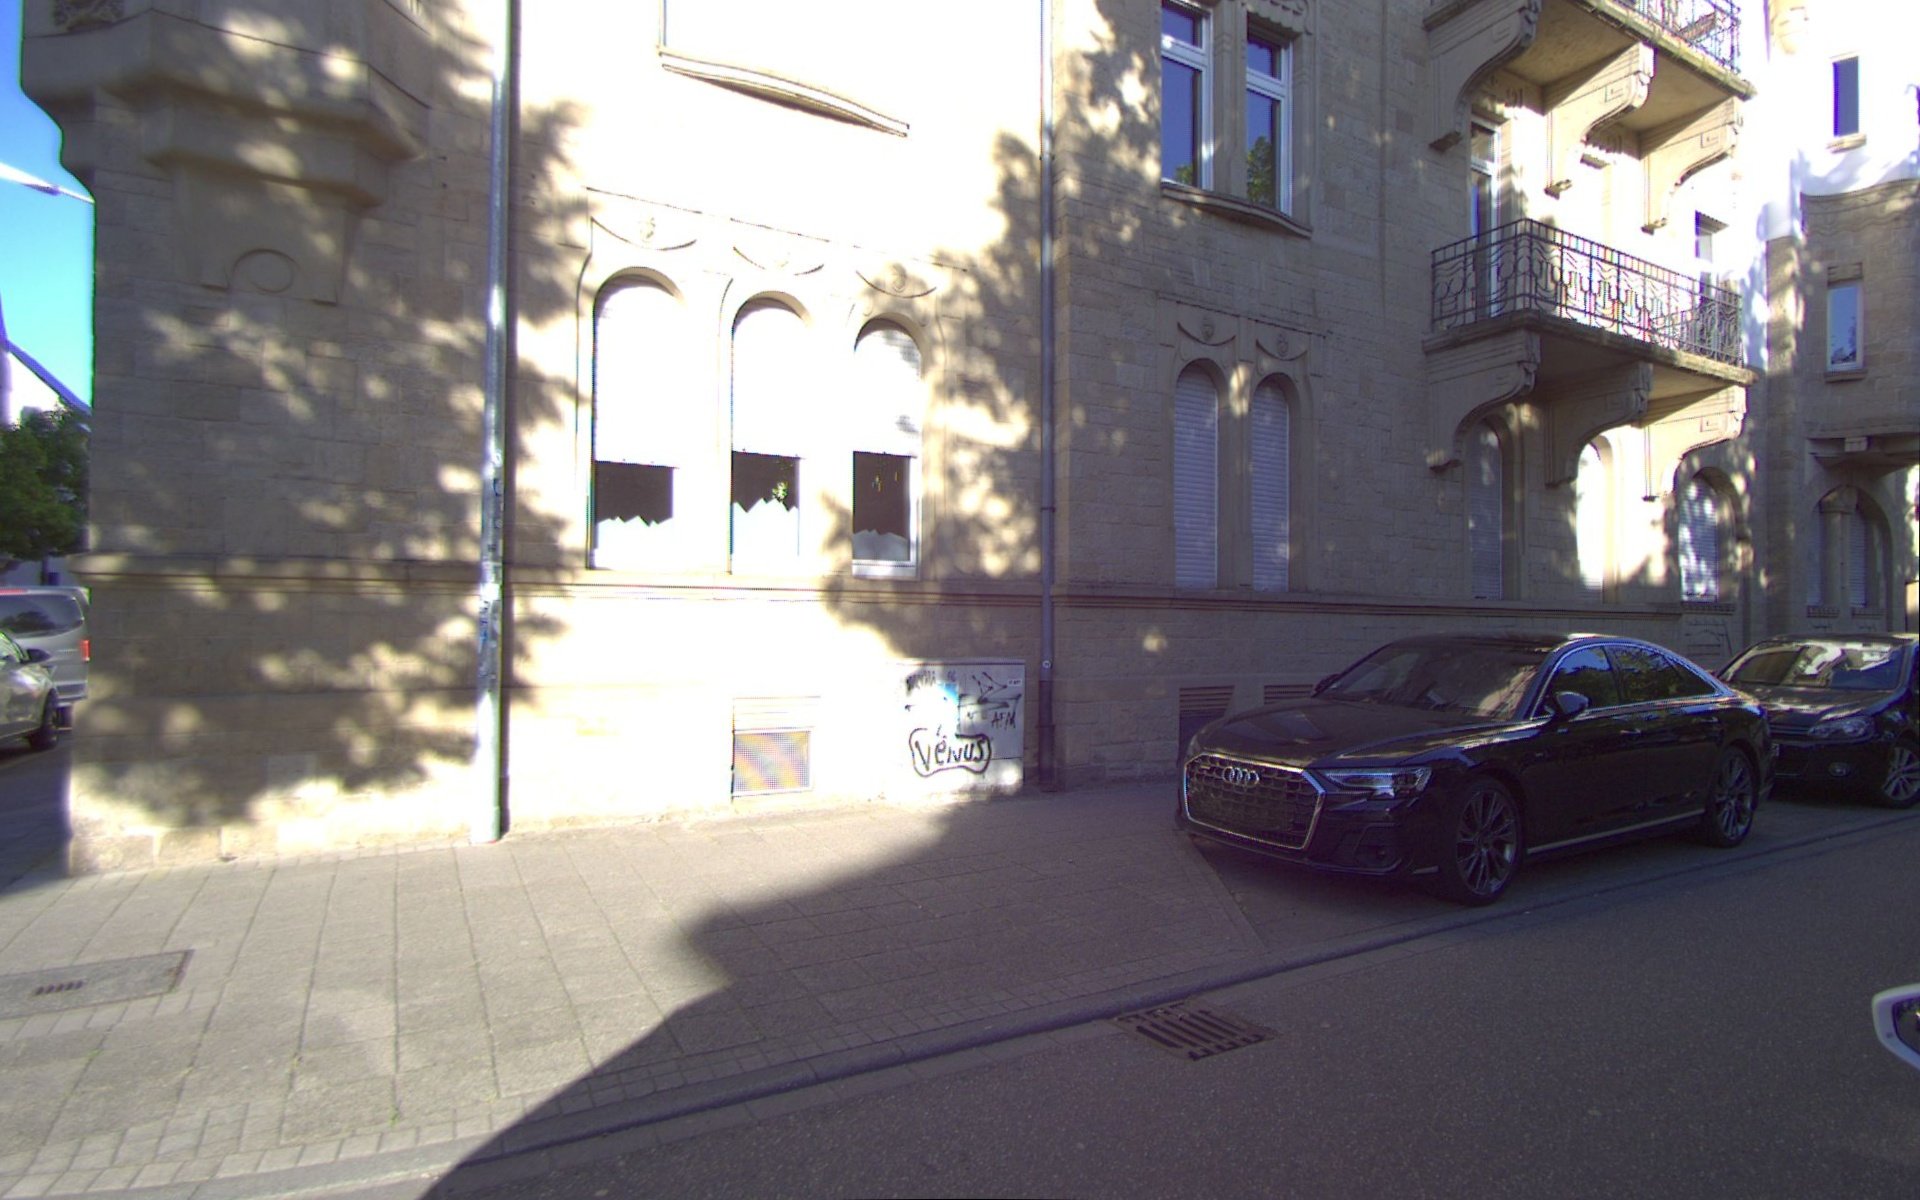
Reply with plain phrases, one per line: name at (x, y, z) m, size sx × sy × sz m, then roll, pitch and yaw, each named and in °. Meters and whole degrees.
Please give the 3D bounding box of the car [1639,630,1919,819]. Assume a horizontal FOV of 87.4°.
car at (8.486, 1.074, 9.731) m, size 3.983 × 1.472 × 1.687 m, roll 2°, pitch -2°, yaw -32°

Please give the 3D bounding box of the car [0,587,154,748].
car at (-12.789, 0.862, 13.932) m, size 1.846 × 1.891 × 4.688 m, roll -2°, pitch 0°, yaw -31°

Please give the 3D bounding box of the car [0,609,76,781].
car at (-10.044, 0.912, 9.598) m, size 1.699 × 1.571 × 3.776 m, roll -2°, pitch 0°, yaw -31°

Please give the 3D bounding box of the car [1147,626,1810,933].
car at (3.774, 0.981, 7.024) m, size 4.841 × 1.446 × 1.802 m, roll 2°, pitch 1°, yaw -31°
